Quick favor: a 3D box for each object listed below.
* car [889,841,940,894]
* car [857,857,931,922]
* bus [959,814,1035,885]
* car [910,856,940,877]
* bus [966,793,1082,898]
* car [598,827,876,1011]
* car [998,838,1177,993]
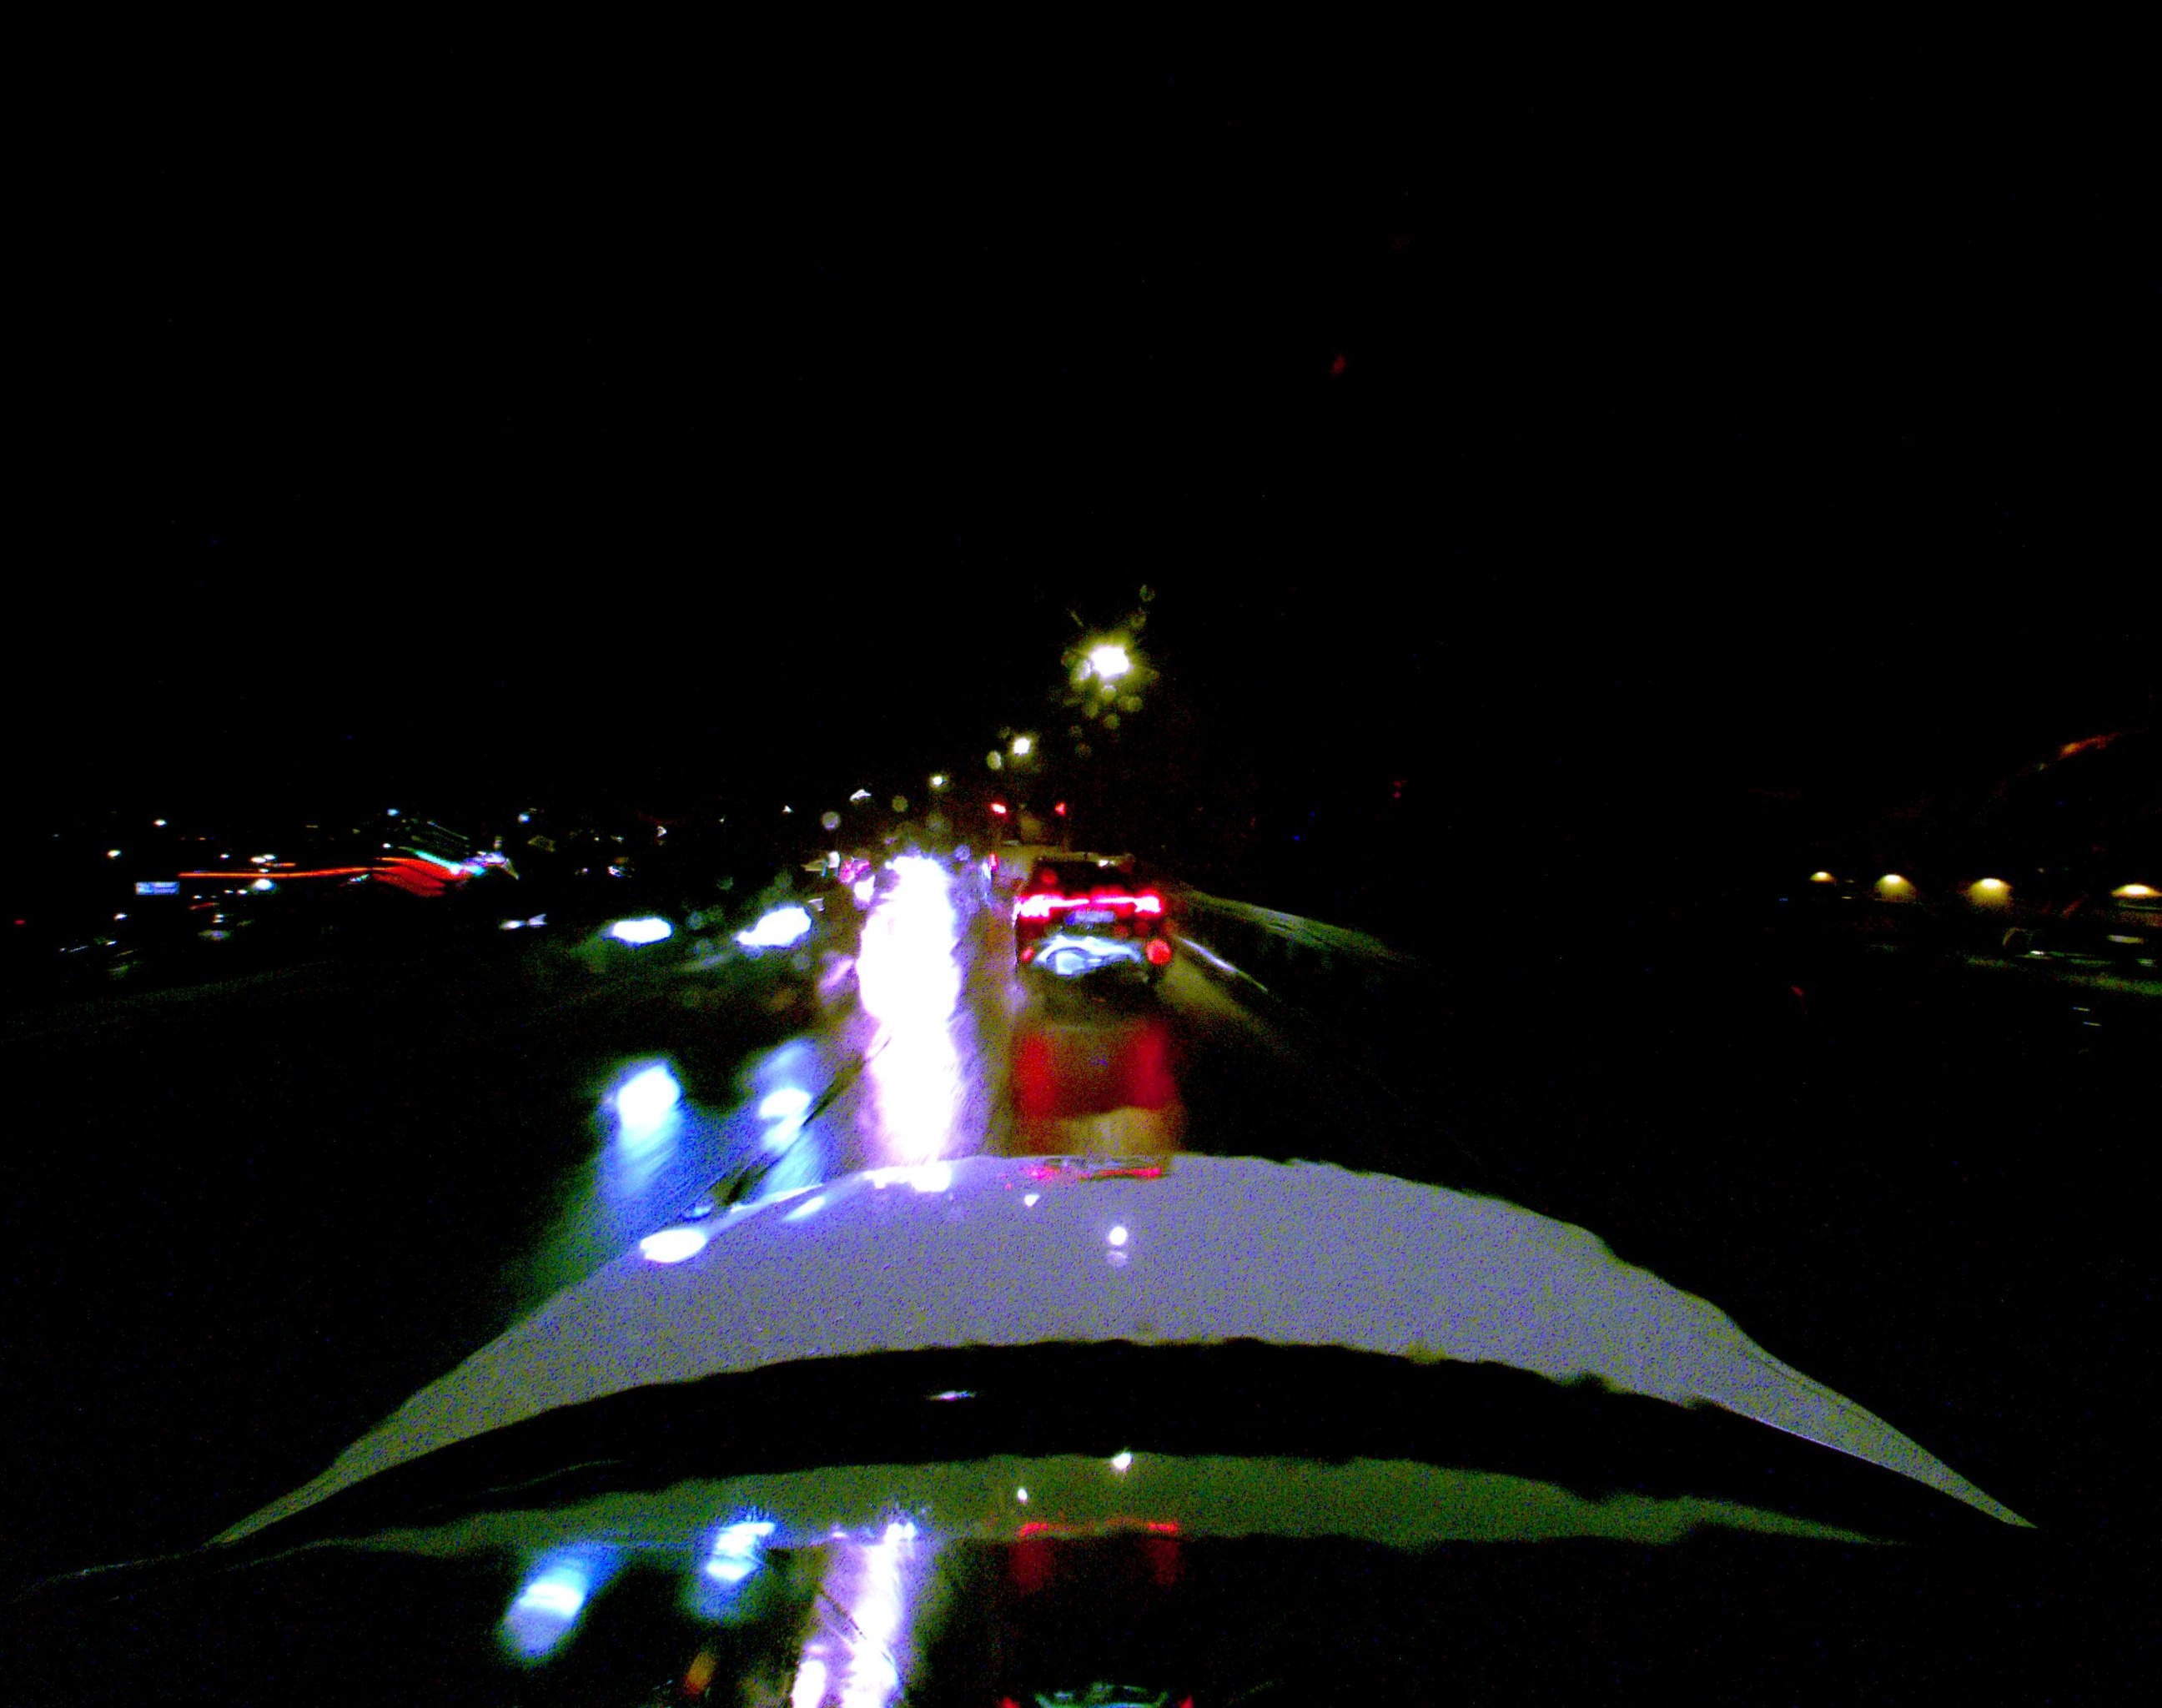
[{"bbox_3d":[-7.661,0.583,37.094,2.046,2.170,5.130,-2,0,-13],"label":"car"},{"bbox_3d":[-5.372,0.948,23.802,1.792,1.630,3.981,-1,1,-9],"label":"car"},{"bbox_3d":[-4.441,-0.188,41.423,3.050,3.132,8.046,-2,0,-11],"label":"bus"},{"bbox_3d":[-12.812,1.040,66.749,1.643,1.655,3.682,-3,-1,-22],"label":"car"},{"bbox_3d":[-2.606,-0.279,31.238,3.084,3.132,12.653,-2,0,-10],"label":"bus"},{"bbox_3d":[-3.869,0.630,10.051,1.775,1.704,4.308,-2,0,-4],"label":"car"},{"bbox_3d":[0.031,0.647,10.535,1.850,1.586,3.998,-1,0,-1],"label":"car"}]
